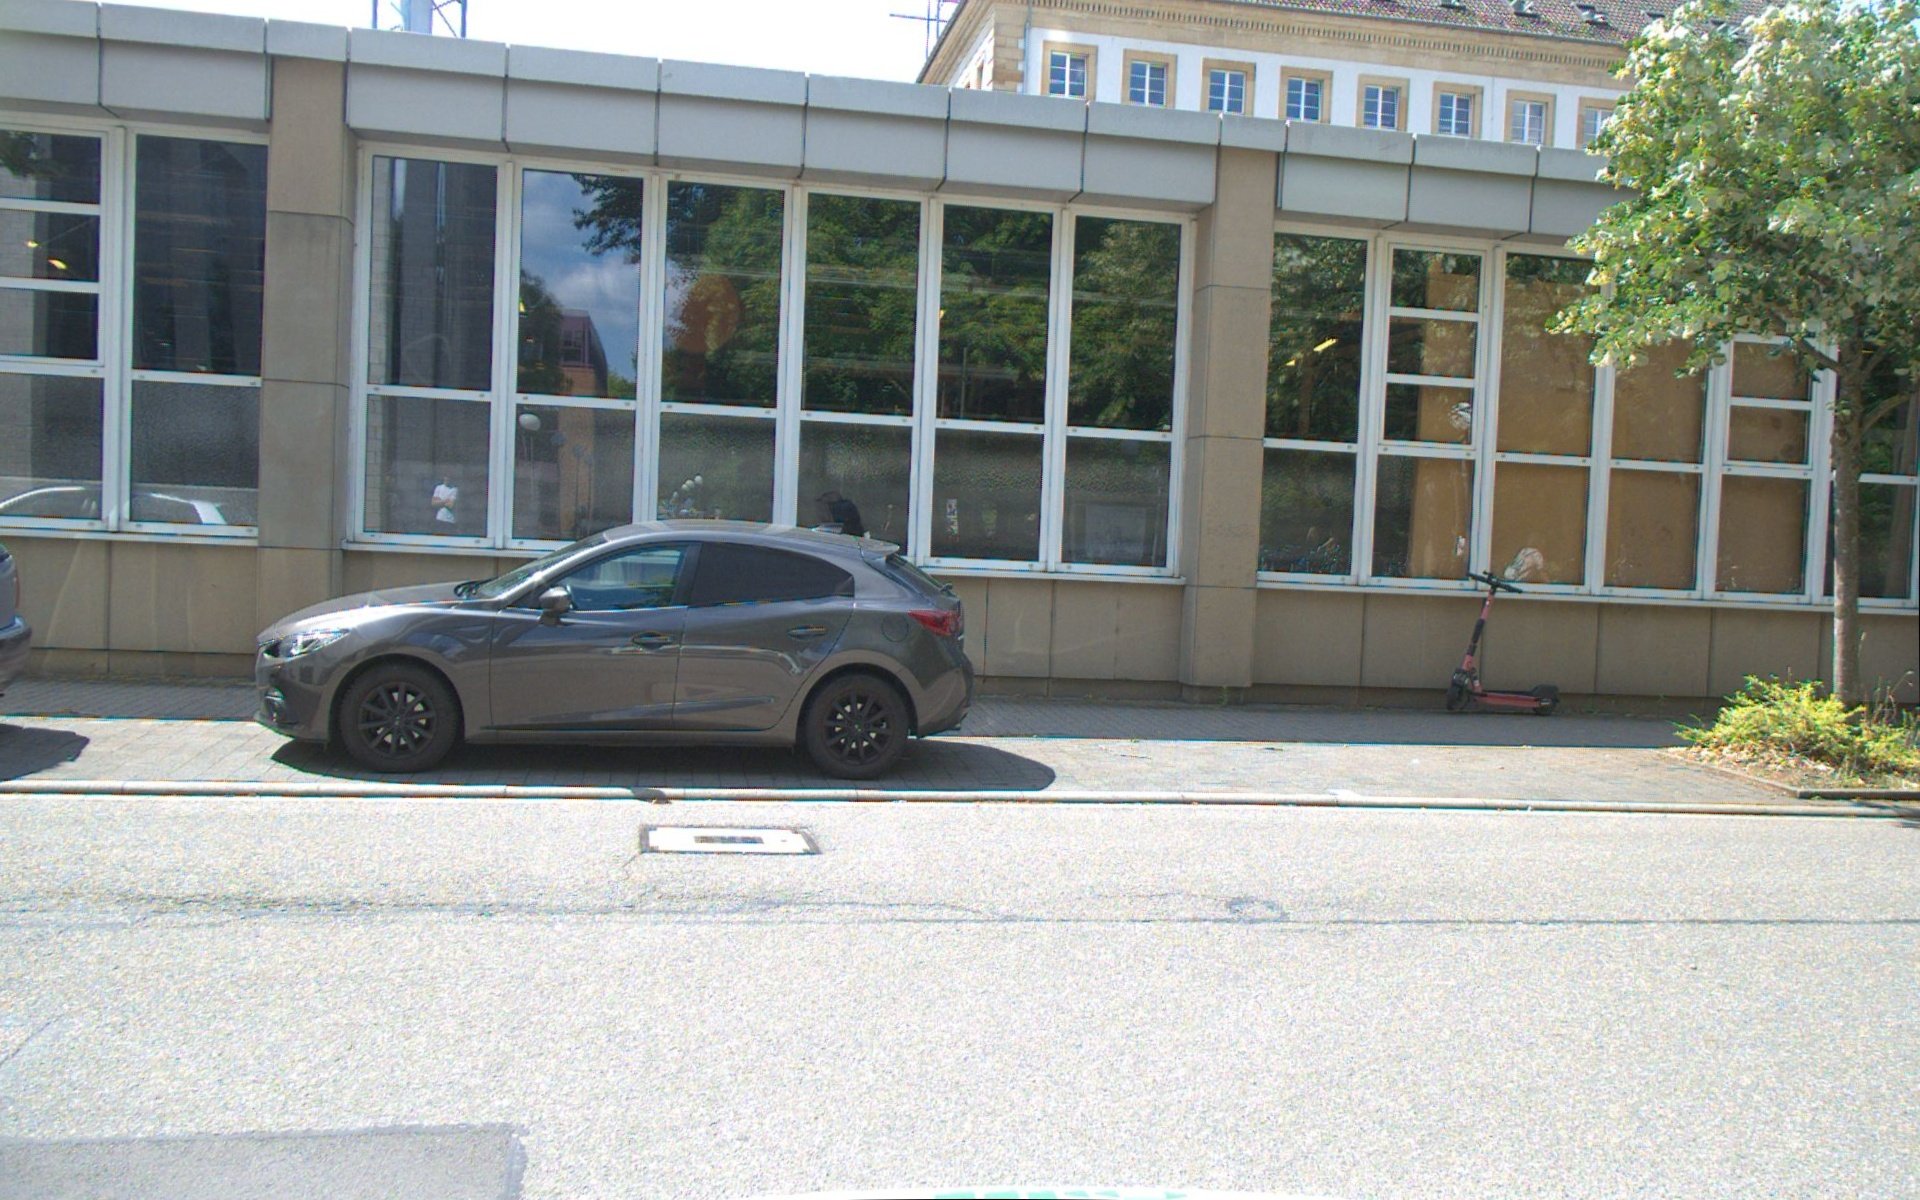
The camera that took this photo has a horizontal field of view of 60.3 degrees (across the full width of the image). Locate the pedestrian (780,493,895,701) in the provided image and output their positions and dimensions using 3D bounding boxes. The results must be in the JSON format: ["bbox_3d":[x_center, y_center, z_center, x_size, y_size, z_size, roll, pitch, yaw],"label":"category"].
[{"bbox_3d":[-0.972,-0.035,12.963,0.780,1.568,0.663,2,3,-11],"label":"pedestrian"}]

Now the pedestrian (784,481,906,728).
[{"bbox_3d":[-0.861,0.021,12.234,0.780,1.757,0.600,2,3,-11],"label":"pedestrian"}]

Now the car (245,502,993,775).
[{"bbox_3d":[-2.036,0.205,10.367,4.199,1.459,1.727,1,5,-12],"label":"car"}]

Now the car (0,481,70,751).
[{"bbox_3d":[-7.225,0.029,9.183,3.674,1.473,1.632,2,5,-12],"label":"car"}]

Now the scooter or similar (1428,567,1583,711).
[{"bbox_3d":[4.829,0.347,14.646,1.220,1.227,0.383,1,4,-12],"label":"scooter or similar"}]
